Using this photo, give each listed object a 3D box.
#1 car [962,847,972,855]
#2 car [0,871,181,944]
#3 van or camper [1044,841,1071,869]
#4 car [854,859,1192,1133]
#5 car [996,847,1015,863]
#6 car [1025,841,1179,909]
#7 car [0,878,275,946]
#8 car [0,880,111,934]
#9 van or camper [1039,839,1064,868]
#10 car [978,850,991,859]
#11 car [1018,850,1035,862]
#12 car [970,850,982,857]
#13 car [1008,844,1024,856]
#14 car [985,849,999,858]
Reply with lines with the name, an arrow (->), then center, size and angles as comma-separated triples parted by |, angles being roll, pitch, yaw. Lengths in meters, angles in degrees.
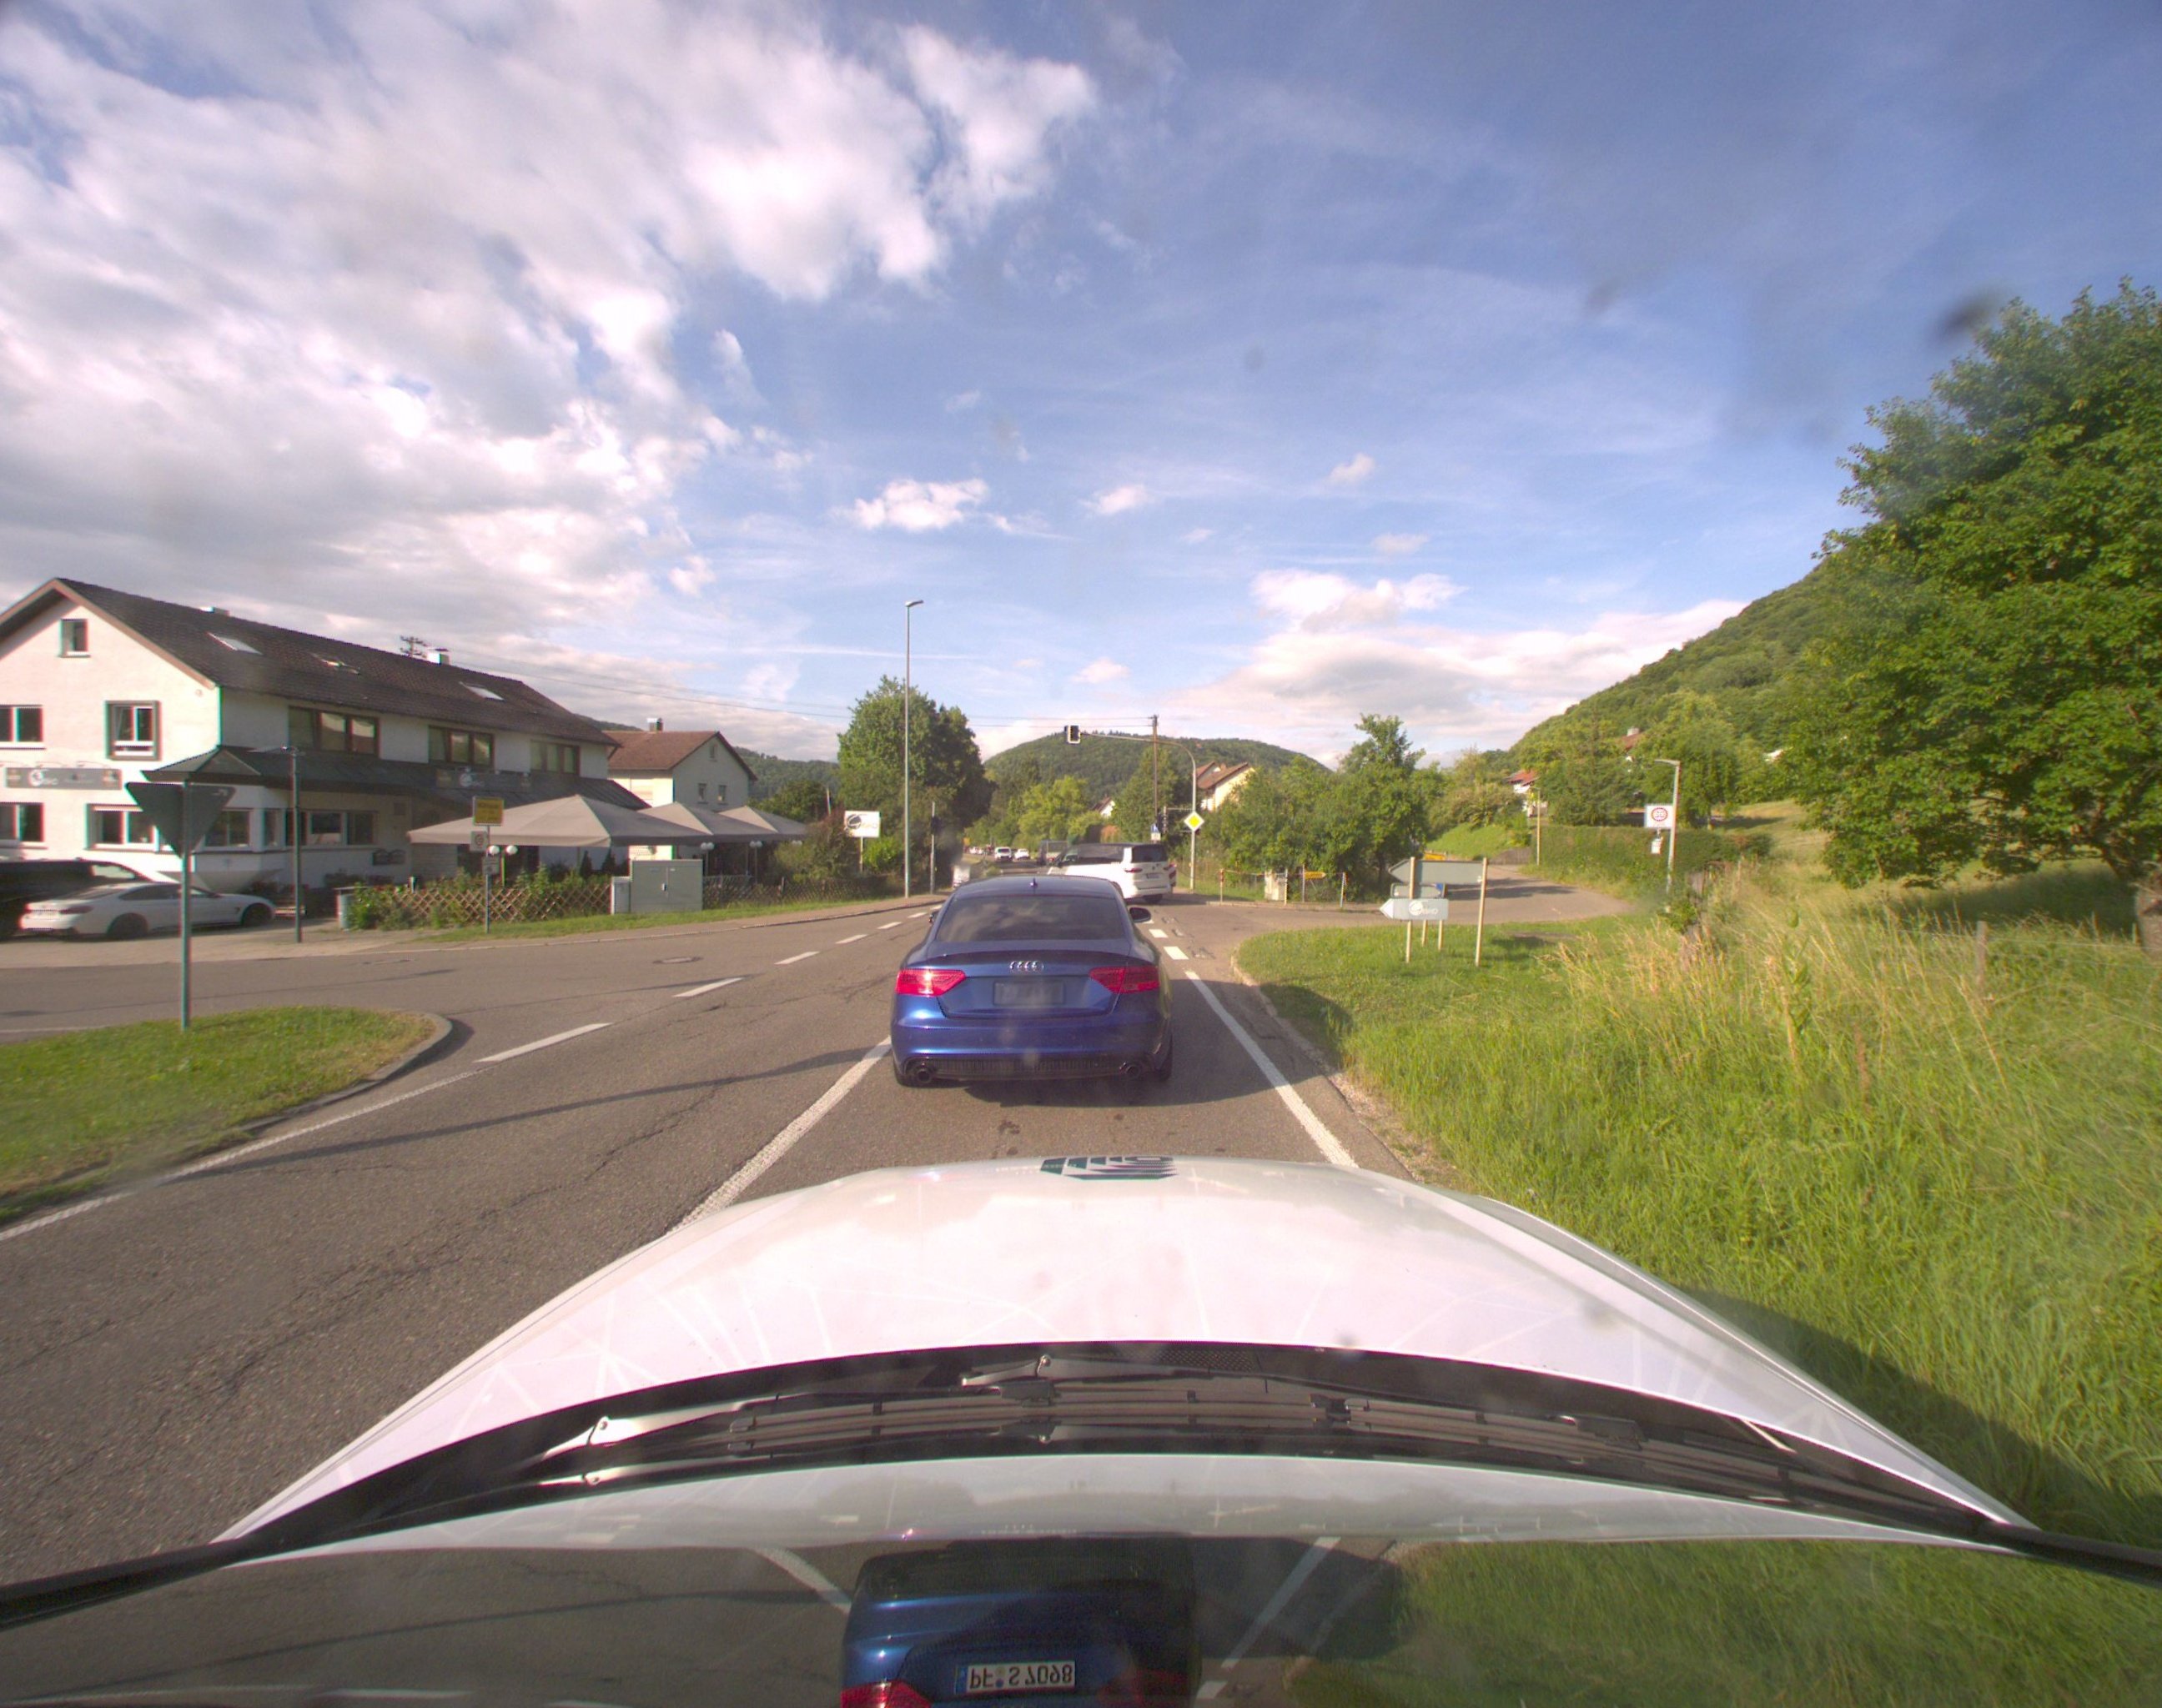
car -> -24.905, -0.590, 178.530 | 1.774, 1.783, 3.981 | -1, 0, -13
car -> -27.335, 1.372, 21.421 | 1.984, 1.685, 4.582 | -2, 0, 5
van or camper -> -2.184, 0.072, 74.185 | 2.176, 2.385, 5.362 | -1, 0, -4
car -> -0.306, 0.796, 6.604 | 1.824, 1.409, 4.226 | -2, 0, 0
car -> -9.290, 0.101, 99.487 | 1.993, 1.903, 5.238 | -2, 1, -8
car -> 0.573, 0.579, 25.943 | 4.811, 1.876, 2.012 | 2, 1, 45
car -> -24.654, 1.442, 21.482 | 1.984, 1.389, 4.582 | -2, 0, 5
car -> -30.402, 1.516, 22.301 | 1.984, 1.389, 4.582 | -2, 0, 5
van or camper -> -3.238, -0.090, 87.978 | 2.410, 2.904, 6.122 | -1, 0, -4
car -> -18.614, 0.058, 157.058 | 1.944, 1.684, 3.982 | -2, 0, -13
car -> -7.564, 0.272, 112.376 | 1.820, 1.552, 3.985 | -1, 0, -11
car -> -21.375, -0.039, 166.020 | 1.944, 1.424, 3.982 | -1, 1, -13
car -> -9.883, -0.615, 124.279 | 1.799, 1.794, 3.981 | -1, 0, -14
car -> -16.283, -0.116, 148.708 | 2.043, 1.684, 3.982 | -1, 1, -13
